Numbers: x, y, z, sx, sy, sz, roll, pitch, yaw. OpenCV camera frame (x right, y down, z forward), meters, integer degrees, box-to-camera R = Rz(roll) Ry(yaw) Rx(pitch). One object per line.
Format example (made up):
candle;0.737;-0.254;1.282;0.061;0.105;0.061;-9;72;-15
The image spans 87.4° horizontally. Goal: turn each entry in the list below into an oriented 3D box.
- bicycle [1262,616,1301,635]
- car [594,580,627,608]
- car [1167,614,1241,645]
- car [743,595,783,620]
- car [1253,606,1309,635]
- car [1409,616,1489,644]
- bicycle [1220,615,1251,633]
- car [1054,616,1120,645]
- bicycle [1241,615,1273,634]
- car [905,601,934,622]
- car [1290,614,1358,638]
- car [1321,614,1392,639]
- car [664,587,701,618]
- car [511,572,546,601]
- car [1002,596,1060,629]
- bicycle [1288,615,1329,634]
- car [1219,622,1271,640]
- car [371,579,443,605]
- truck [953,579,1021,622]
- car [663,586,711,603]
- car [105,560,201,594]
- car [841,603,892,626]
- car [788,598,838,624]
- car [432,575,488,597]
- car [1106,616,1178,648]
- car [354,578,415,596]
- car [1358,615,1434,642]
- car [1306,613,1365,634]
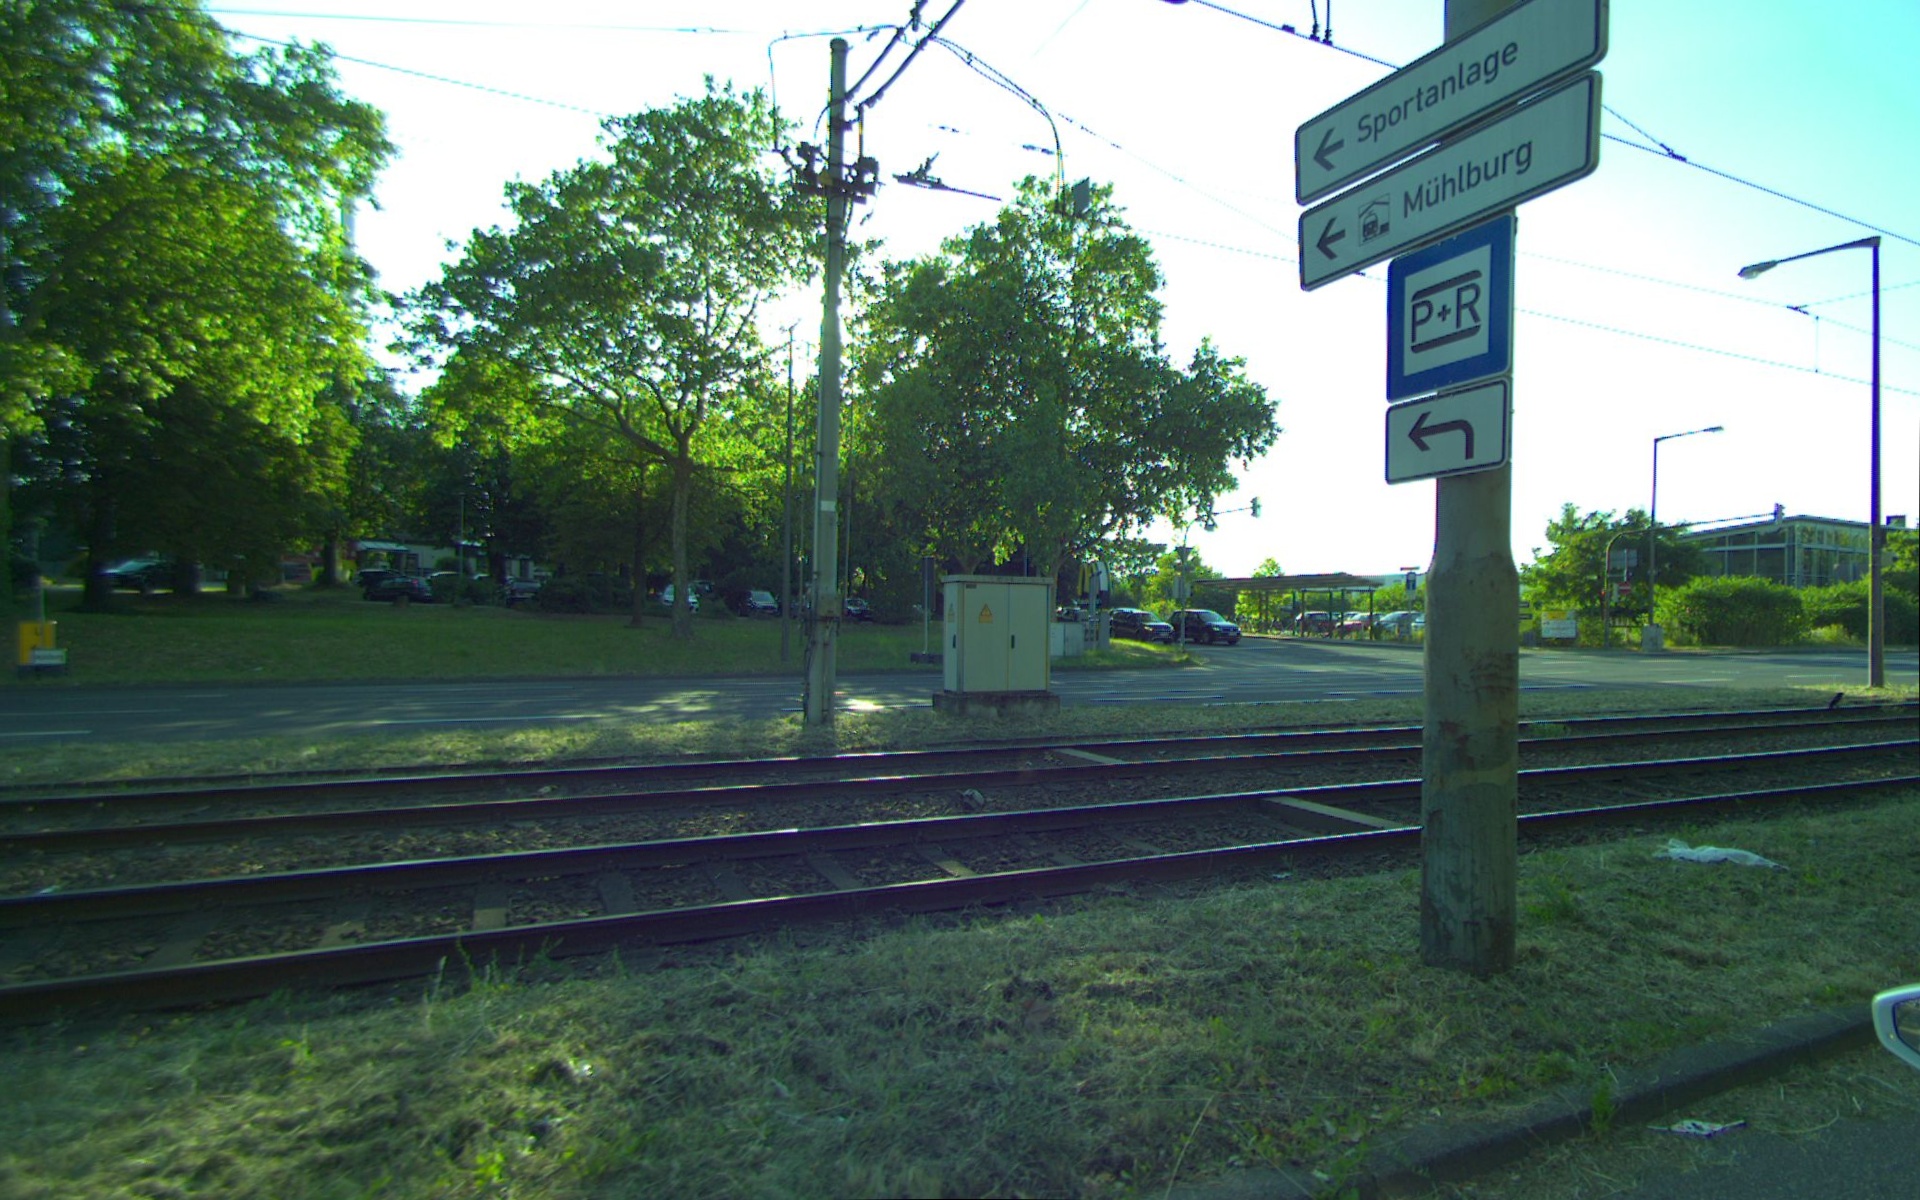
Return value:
bicycle;19.141;1.520;59.843;2.148;1.079;0.668;1;0;6
car;-18.215;-0.308;52.407;1.558;1.350;3.506;1;0;-19
car;12.137;1.429;50.196;1.756;1.405;4.052;1;0;-18
car;-12.974;0.484;66.082;1.895;1.550;3.979;1;0;-22
car;25.387;1.613;79.475;3.942;2.272;1.837;1;0;-22
car;27.401;1.678;56.280;3.942;1.461;1.837;1;0;-22
bicycle;17.111;1.490;62.330;2.170;1.079;0.661;1;0;-35
car;6.796;1.613;54.308;1.759;1.405;4.046;1;0;-23
bicycle;18.189;1.502;61.515;2.170;1.079;0.661;1;0;-35
car;-4.108;1.193;102.149;1.968;2.040;3.985;1;0;-17
car;23.606;1.694;65.147;3.942;1.461;1.837;1;0;-22
car;24.563;1.625;62.222;3.942;1.461;1.837;1;0;-22
car;-14.762;0.123;53.411;1.830;1.550;3.987;1;0;-16
car;-21.485;-0.658;50.025;1.503;1.350;3.501;1;0;-24
car;4.190;0.768;60.018;1.970;1.884;3.980;1;-1;-21
bicycle;19.790;1.390;57.024;2.151;1.079;0.667;1;0;-7
car;23.755;2.576;83.769;3.942;1.461;1.837;1;0;-22
car;-29.735;-0.435;54.001;3.453;1.350;1.524;1;0;21
truck;2.208;0.027;86.429;2.696;3.433;8.269;1;0;-23
car;-20.532;-0.401;75.554;3.236;1.212;1.351;1;0;-39
car;-35.336;-0.972;44.087;1.495;1.350;3.519;1;0;-4
car;-5.407;0.822;57.972;1.651;1.277;3.974;1;0;-26
car;-8.331;0.618;56.691;1.651;1.390;3.974;1;0;-26
car;-36.038;-0.971;72.395;3.487;1.480;1.353;1;0;-35
car;8.890;1.539;49.383;1.756;1.405;4.052;1;0;-18
car;-39.471;-0.900;68.923;3.487;1.135;1.353;1;0;-35
car;25.641;1.678;59.075;3.942;1.461;1.837;1;0;-22
car;27.931;1.774;74.682;3.942;1.461;1.837;1;0;-22
